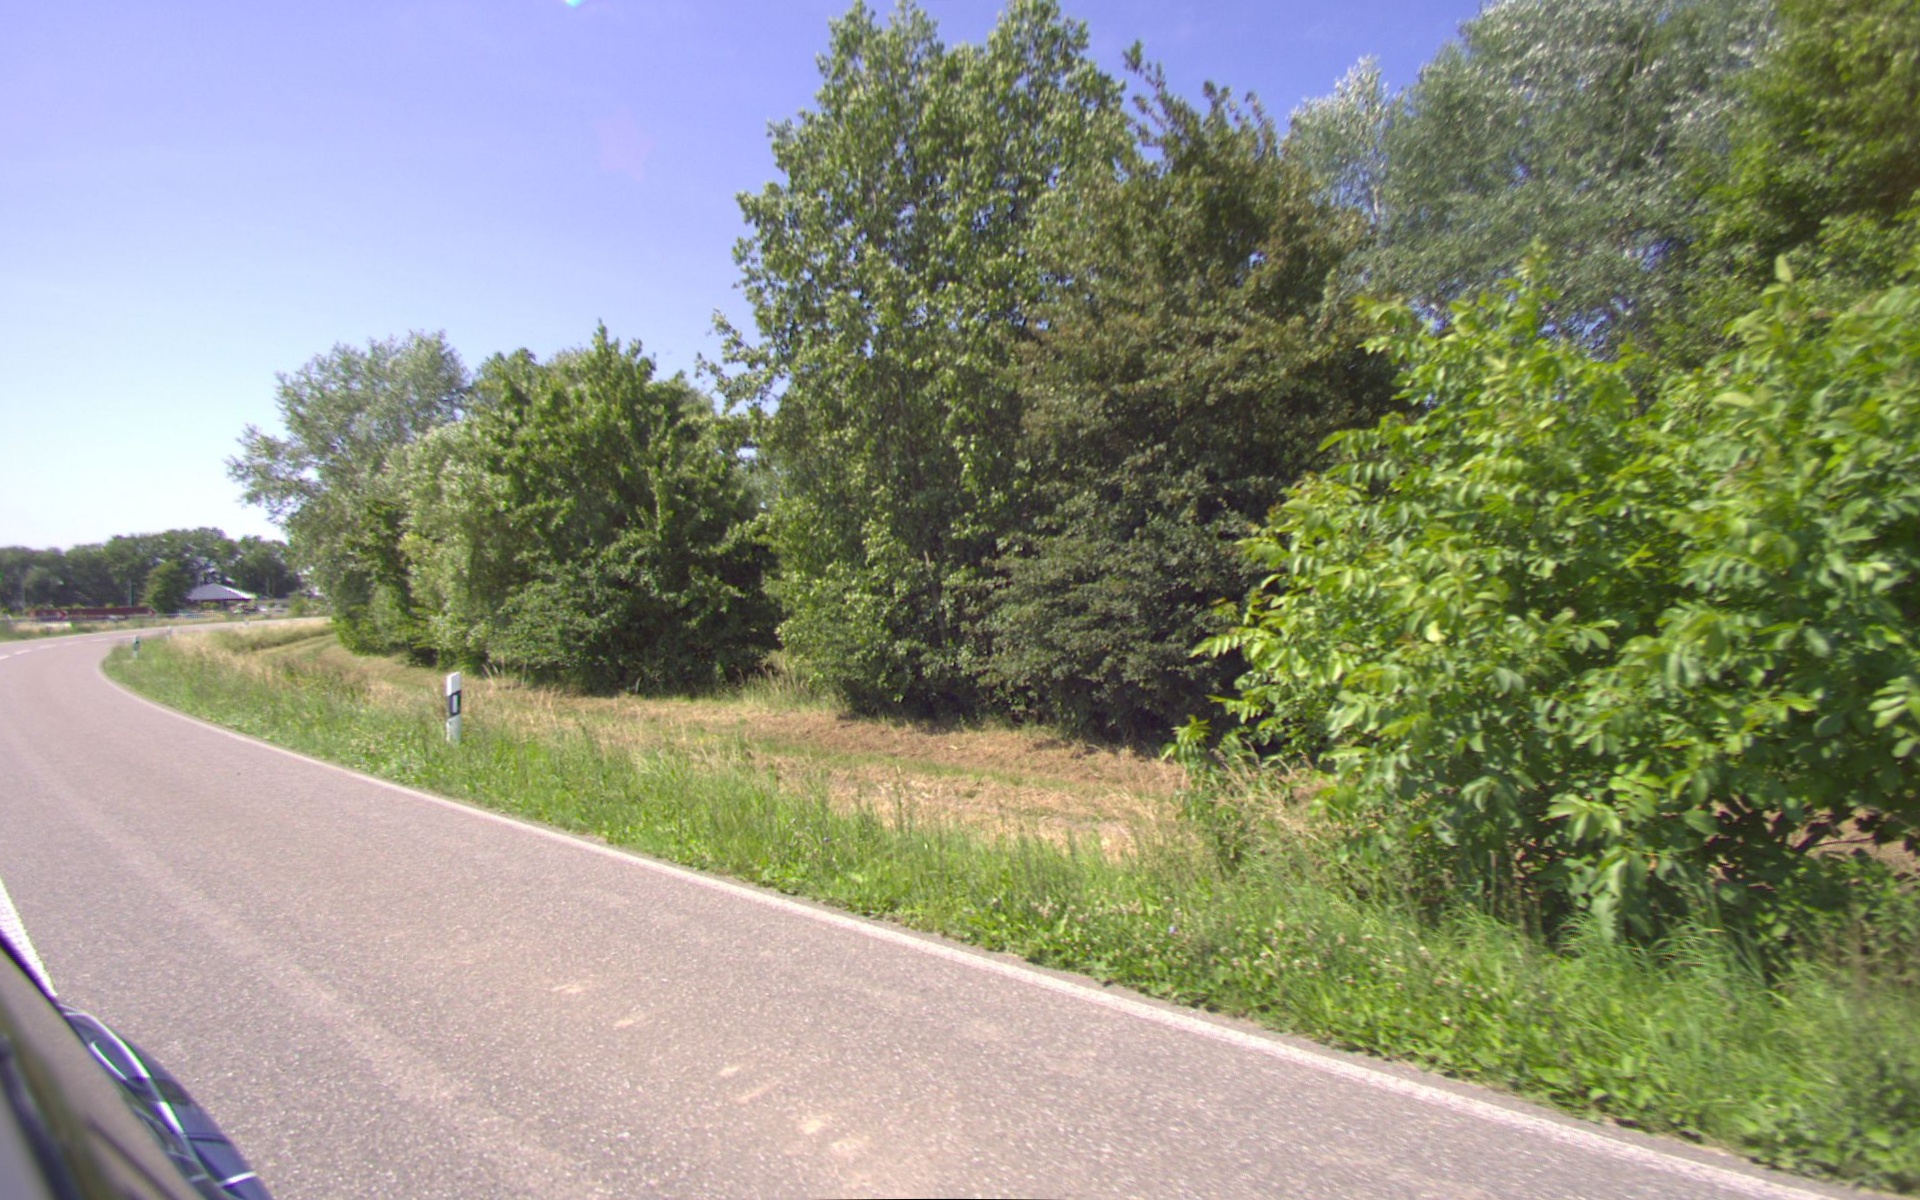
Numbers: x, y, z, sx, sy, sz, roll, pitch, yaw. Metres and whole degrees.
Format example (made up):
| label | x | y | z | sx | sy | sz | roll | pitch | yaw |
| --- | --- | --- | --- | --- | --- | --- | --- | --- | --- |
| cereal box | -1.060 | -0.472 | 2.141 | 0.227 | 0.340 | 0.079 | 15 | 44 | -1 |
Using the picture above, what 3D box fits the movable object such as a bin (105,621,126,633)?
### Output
| label | x | y | z | sx | sy | sz | roll | pitch | yaw |
| --- | --- | --- | --- | --- | --- | --- | --- | --- | --- |
| movable object such as a bin | -104.419 | 3.378 | 125.140 | 1.367 | 1.359 | 1.502 | -1 | 1 | 28 |
